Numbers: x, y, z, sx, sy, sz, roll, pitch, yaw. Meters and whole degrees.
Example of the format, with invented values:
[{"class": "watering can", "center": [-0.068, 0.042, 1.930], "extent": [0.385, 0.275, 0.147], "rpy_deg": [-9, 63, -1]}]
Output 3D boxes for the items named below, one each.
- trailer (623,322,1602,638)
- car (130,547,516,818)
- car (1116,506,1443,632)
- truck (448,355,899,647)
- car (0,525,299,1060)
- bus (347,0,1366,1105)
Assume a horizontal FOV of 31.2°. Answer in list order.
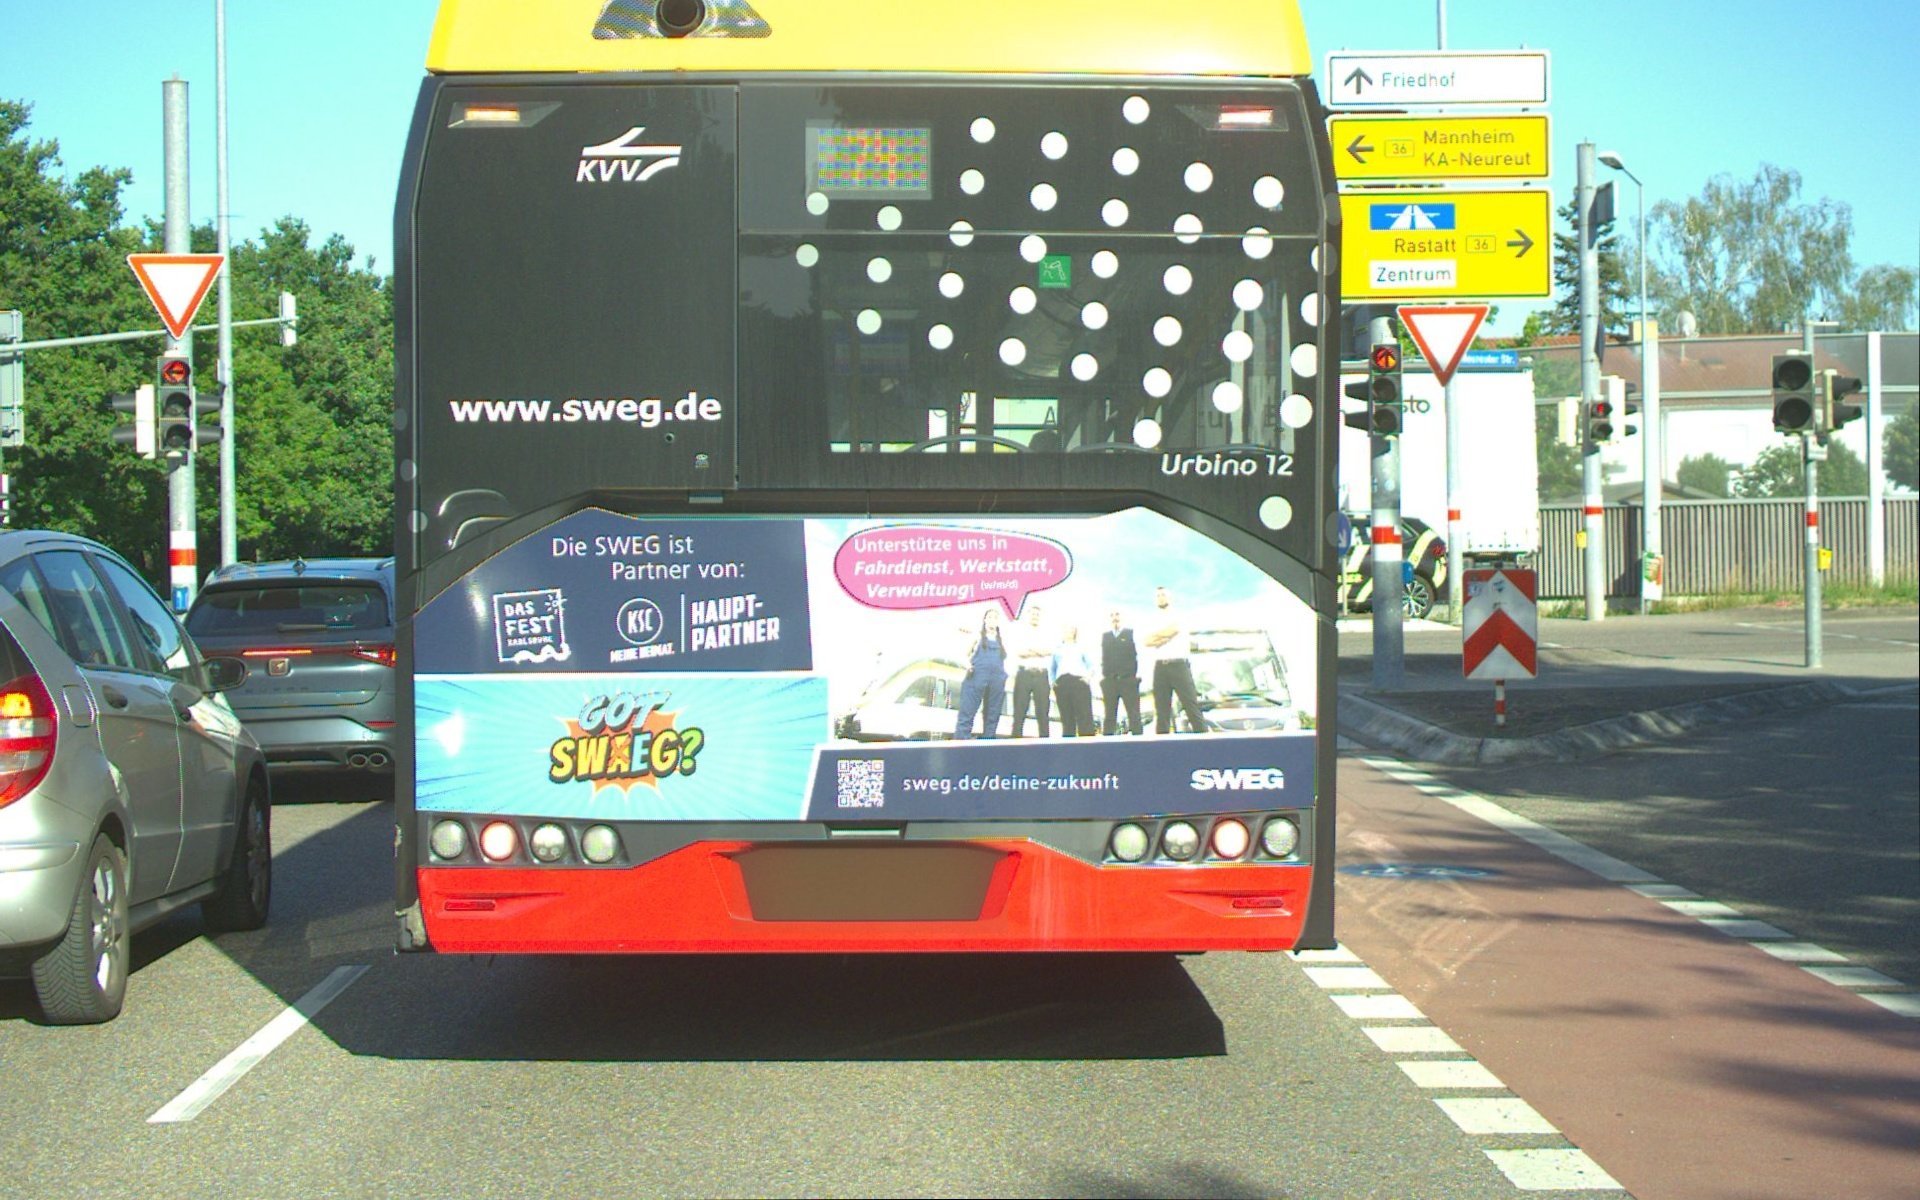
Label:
[{"class": "trailer", "center": [2.274, -1.870, 53.556], "extent": [14.653, 3.999, 3.441], "rpy_deg": [-3, 1, -8]}, {"class": "car", "center": [-3.809, 0.433, 21.128], "extent": [1.692, 1.453, 3.751], "rpy_deg": [-2, 1, -1]}, {"class": "car", "center": [4.324, -0.433, 46.793], "extent": [4.066, 1.521, 1.769], "rpy_deg": [-2, 1, -9]}, {"class": "truck", "center": [-4.452, -1.502, 52.676], "extent": [6.474, 3.999, 3.441], "rpy_deg": [-3, 1, -8]}, {"class": "car", "center": [-3.603, 0.564, 12.196], "extent": [1.761, 1.584, 4.000], "rpy_deg": [-2, 1, -1]}, {"class": "bus", "center": [-0.290, -0.399, 14.895], "extent": [2.642, 3.156, 11.861], "rpy_deg": [0, 1, 0]}]
